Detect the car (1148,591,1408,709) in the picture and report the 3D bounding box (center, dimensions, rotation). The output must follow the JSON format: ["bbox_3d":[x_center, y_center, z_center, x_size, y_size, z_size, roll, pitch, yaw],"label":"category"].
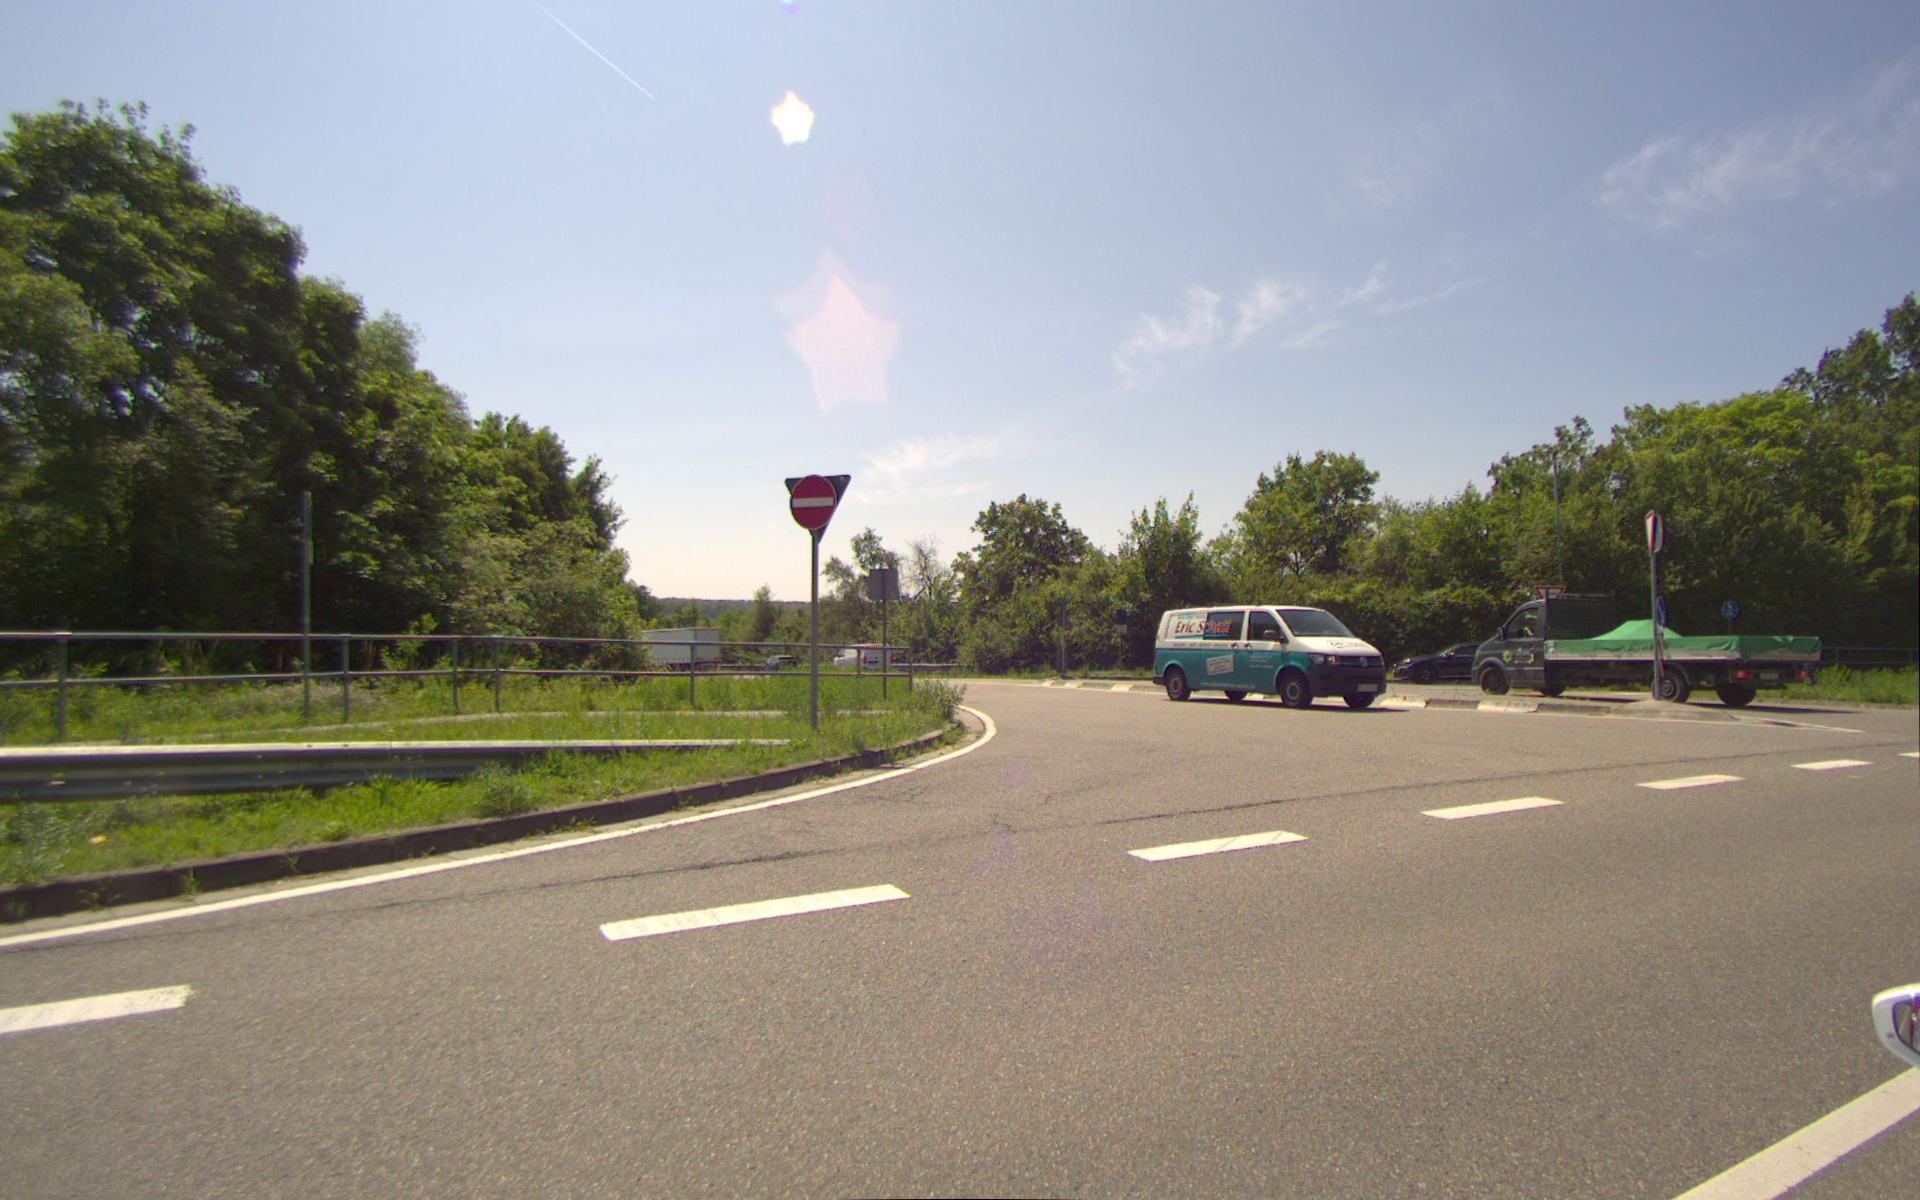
[{"bbox_3d":[6.123,1.037,20.140,1.973,2.054,5.156,1,-4,-26],"label":"car"}]

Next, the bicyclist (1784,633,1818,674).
[{"bbox_3d":[28.841,1.832,34.456,0.597,1.381,0.690,1,0,5],"label":"bicyclist"}]

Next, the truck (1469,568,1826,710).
[{"bbox_3d":[14.488,0.913,21.940,2.110,2.598,6.620,1,-3,-15],"label":"truck"}]

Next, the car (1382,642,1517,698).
[{"bbox_3d":[16.122,2.307,33.266,3.924,1.683,1.677,0,-4,24],"label":"car"}]

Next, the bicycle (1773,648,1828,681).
[{"bbox_3d":[28.827,2.208,34.457,1.452,1.128,0.437,1,-1,4],"label":"bicycle"}]

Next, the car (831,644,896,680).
[{"bbox_3d":[-5.608,3.573,57.661,1.991,1.948,5.161,1,-4,-27],"label":"car"}]

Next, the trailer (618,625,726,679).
[{"bbox_3d":[-25.656,4.695,88.686,2.980,4.331,13.611,1,-4,-45],"label":"trailer"}]

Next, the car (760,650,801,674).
[{"bbox_3d":[-12.770,4.444,71.400,1.748,1.616,3.902,1,-5,-28],"label":"car"}]
